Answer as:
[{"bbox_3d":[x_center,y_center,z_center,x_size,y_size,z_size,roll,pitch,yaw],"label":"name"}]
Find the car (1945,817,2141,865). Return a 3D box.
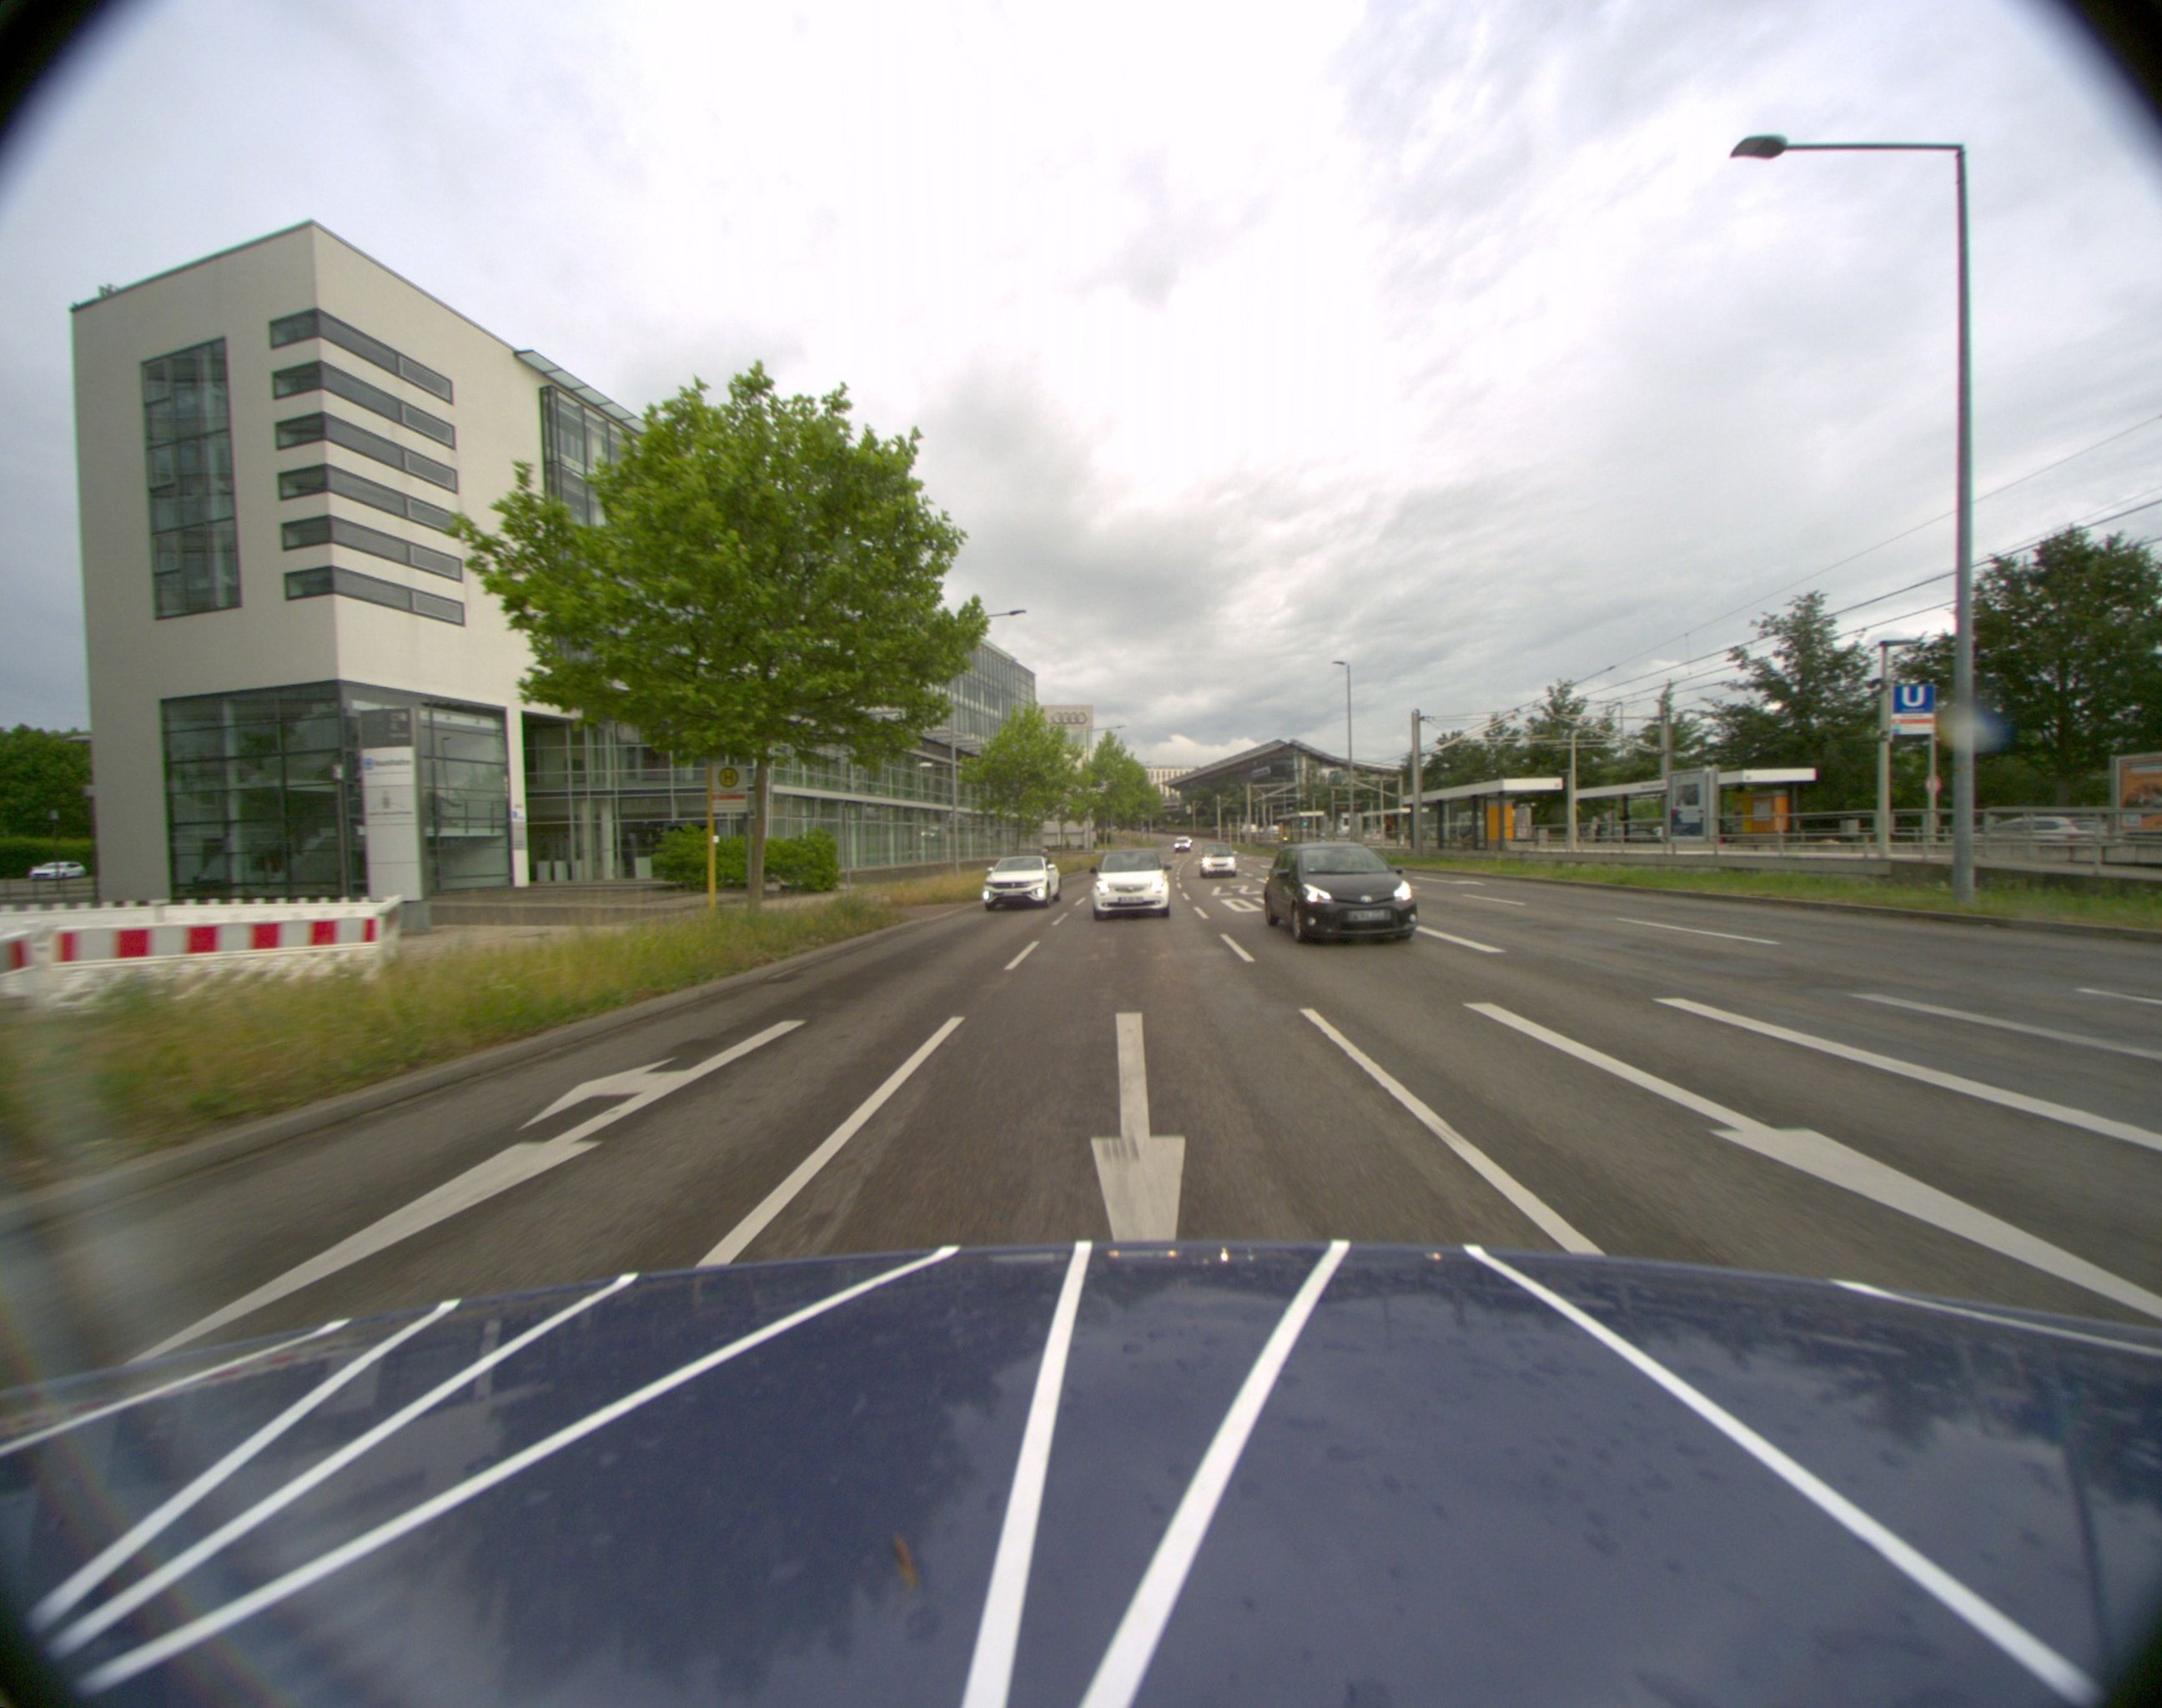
[{"bbox_3d":[33.770,-0.498,26.888,1.743,1.454,4.152,-4,2,2],"label":"car"}]

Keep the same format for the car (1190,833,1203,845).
[{"bbox_3d":[16.654,-2.222,109.604,1.700,1.514,3.826,-2,2,12],"label":"car"}]

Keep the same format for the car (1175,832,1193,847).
[{"bbox_3d":[12.382,-1.759,91.538,1.827,1.701,4.155,-3,2,11],"label":"car"}]

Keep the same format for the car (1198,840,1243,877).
[{"bbox_3d":[6.334,0.178,34.854,1.739,1.470,4.001,-3,1,7],"label":"car"}]

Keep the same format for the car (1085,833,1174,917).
[{"bbox_3d":[1.200,0.438,18.108,1.804,1.713,4.001,-2,0,5],"label":"car"}]

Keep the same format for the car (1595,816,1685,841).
[{"bbox_3d":[31.516,-1.448,42.989,1.912,1.257,4.413,-4,2,2],"label":"car"}]

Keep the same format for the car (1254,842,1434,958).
[{"bbox_3d":[4.043,0.620,12.348,1.697,1.514,3.905,-3,0,3],"label":"car"}]

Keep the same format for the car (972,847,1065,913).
[{"bbox_3d":[-1.734,0.685,22.400,1.998,1.669,3.823,-3,1,6],"label":"car"}]

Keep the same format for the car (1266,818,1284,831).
[{"bbox_3d":[34.319,-5.196,134.457,1.998,2.202,5.143,-4,2,4],"label":"car"}]

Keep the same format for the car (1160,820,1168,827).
[{"bbox_3d":[24.572,-9.039,225.830,1.998,1.837,3.999,-4,2,1],"label":"car"}]

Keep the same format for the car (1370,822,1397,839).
[{"bbox_3d":[33.818,-2.642,85.097,1.531,1.657,4.268,-4,2,4],"label":"car"}]
